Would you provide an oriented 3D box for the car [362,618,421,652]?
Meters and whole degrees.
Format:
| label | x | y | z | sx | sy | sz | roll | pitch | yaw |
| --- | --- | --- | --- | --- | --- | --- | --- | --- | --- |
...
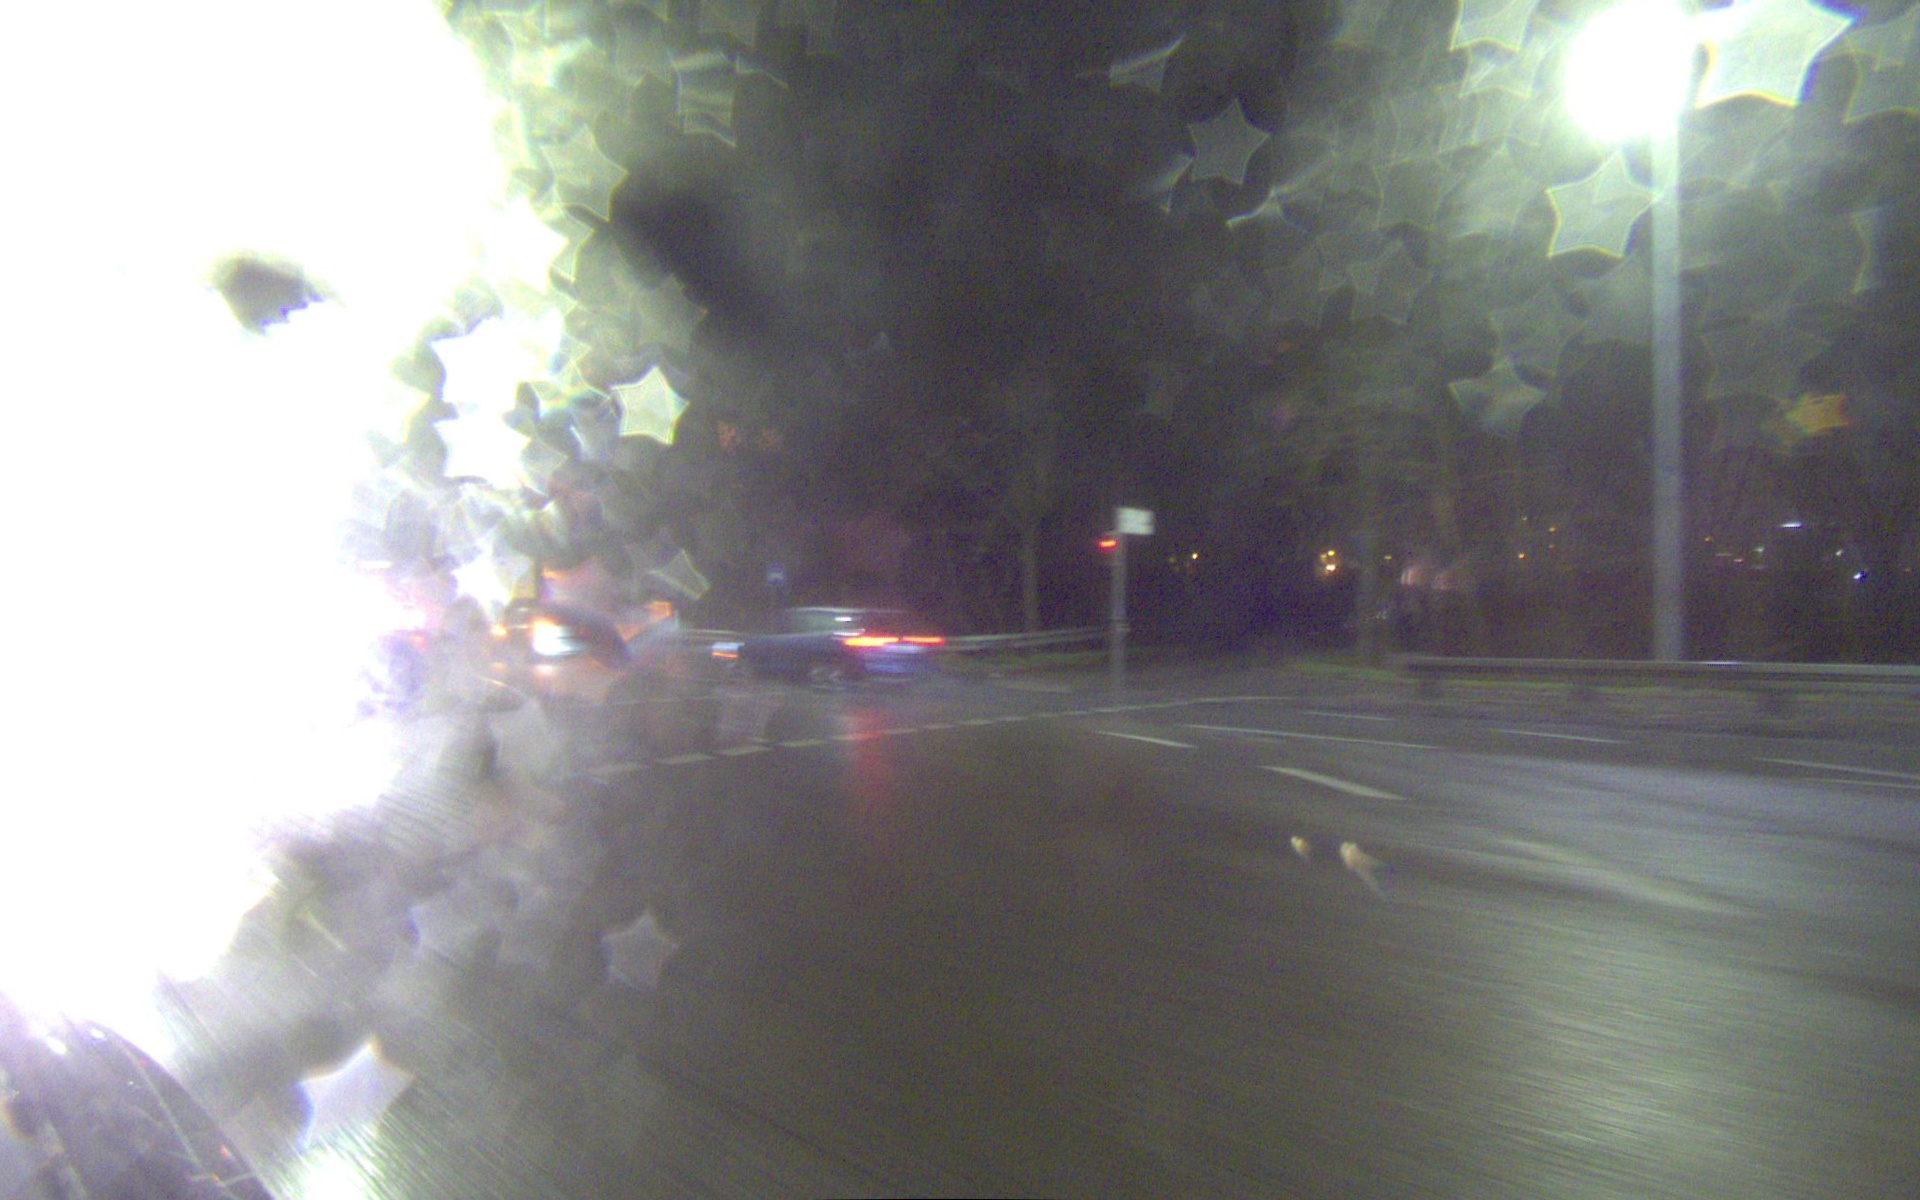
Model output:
| label | x | y | z | sx | sy | sz | roll | pitch | yaw |
| --- | --- | --- | --- | --- | --- | --- | --- | --- | --- |
| car | -25.960 | 1.601 | 46.176 | 1.766 | 1.468 | 4.588 | 2 | -2 | -36 |

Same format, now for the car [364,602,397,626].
| label | x | y | z | sx | sy | sz | roll | pitch | yaw |
| --- | --- | --- | --- | --- | --- | --- | --- | --- | --- |
| car | -38.694 | 0.930 | 67.509 | 1.710 | 1.507 | 3.952 | 2 | -1 | -32 |

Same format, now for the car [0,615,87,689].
| label | x | y | z | sx | sy | sz | roll | pitch | yaw |
| --- | --- | --- | --- | --- | --- | --- | --- | --- | --- |
| car | -21.422 | 1.156 | 23.276 | 1.581 | 1.436 | 3.398 | -3 | 3 | -34 |

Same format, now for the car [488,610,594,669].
| label | x | y | z | sx | sy | sz | roll | pitch | yaw |
| --- | --- | --- | --- | --- | --- | --- | --- | --- | --- |
| car | -11.481 | 1.047 | 27.634 | 1.546 | 1.444 | 3.498 | -1 | 0 | -43 |

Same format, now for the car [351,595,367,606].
| label | x | y | z | sx | sy | sz | roll | pitch | yaw |
| --- | --- | --- | --- | --- | --- | --- | --- | --- | --- |
| car | -82.544 | 0.012 | 138.980 | 1.688 | 1.434 | 4.681 | 2 | -1 | -31 |

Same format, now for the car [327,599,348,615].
| label | x | y | z | sx | sy | sz | roll | pitch | yaw |
| --- | --- | --- | --- | --- | --- | --- | --- | --- | --- |
| car | -64.189 | 0.708 | 104.277 | 1.823 | 1.583 | 3.517 | 0 | -1 | -32 |

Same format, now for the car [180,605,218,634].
| label | x | y | z | sx | sy | sz | roll | pitch | yaw |
| --- | --- | --- | --- | --- | --- | --- | --- | --- | --- |
| car | -51.851 | 1.315 | 69.002 | 1.937 | 1.807 | 4.010 | -1 | 1 | -35 |

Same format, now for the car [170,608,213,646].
| label | x | y | z | sx | sy | sz | roll | pitch | yaw |
| --- | --- | --- | --- | --- | --- | --- | --- | --- | --- |
| car | -46.237 | 1.585 | 60.846 | 1.968 | 2.029 | 4.008 | -1 | 1 | -38 |

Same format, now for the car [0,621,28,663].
| label | x | y | z | sx | sy | sz | roll | pitch | yaw |
| --- | --- | --- | --- | --- | --- | --- | --- | --- | --- |
| car | -38.734 | 1.682 | 40.063 | 1.966 | 1.610 | 4.404 | -1 | 0 | -33 |

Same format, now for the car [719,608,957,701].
| label | x | y | z | sx | sy | sz | roll | pitch | yaw |
| --- | --- | --- | --- | --- | --- | --- | --- | --- | --- |
| car | -2.291 | 0.927 | 18.244 | 4.476 | 1.471 | 1.761 | -2 | -2 | 42 |

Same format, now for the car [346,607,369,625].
| label | x | y | z | sx | sy | sz | roll | pitch | yaw |
| --- | --- | --- | --- | --- | --- | --- | --- | --- | --- |
| car | -56.993 | 1.500 | 95.772 | 1.750 | 1.605 | 4.574 | 1 | 0 | -30 |

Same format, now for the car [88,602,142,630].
| label | x | y | z | sx | sy | sz | roll | pitch | yaw |
| --- | --- | --- | --- | --- | --- | --- | --- | --- | --- |
| car | -50.585 | 0.929 | 60.636 | 1.966 | 1.610 | 4.404 | 0 | 0 | -33 |

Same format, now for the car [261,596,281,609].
| label | x | y | z | sx | sy | sz | roll | pitch | yaw |
| --- | --- | --- | --- | --- | --- | --- | --- | --- | --- |
| car | -94.883 | 0.326 | 139.466 | 1.966 | 1.691 | 4.012 | -1 | 1 | -30 |

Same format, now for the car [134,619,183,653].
| label | x | y | z | sx | sy | sz | roll | pitch | yaw |
| --- | --- | --- | --- | --- | --- | --- | --- | --- | --- |
| car | -39.425 | 1.752 | 49.825 | 1.581 | 1.436 | 3.398 | -3 | 3 | -34 |

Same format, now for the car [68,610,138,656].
| label | x | y | z | sx | sy | sz | roll | pitch | yaw |
| --- | --- | --- | --- | --- | --- | --- | --- | --- | --- |
| car | -31.488 | 1.185 | 37.267 | 1.581 | 1.436 | 3.398 | -3 | 3 | -34 |
